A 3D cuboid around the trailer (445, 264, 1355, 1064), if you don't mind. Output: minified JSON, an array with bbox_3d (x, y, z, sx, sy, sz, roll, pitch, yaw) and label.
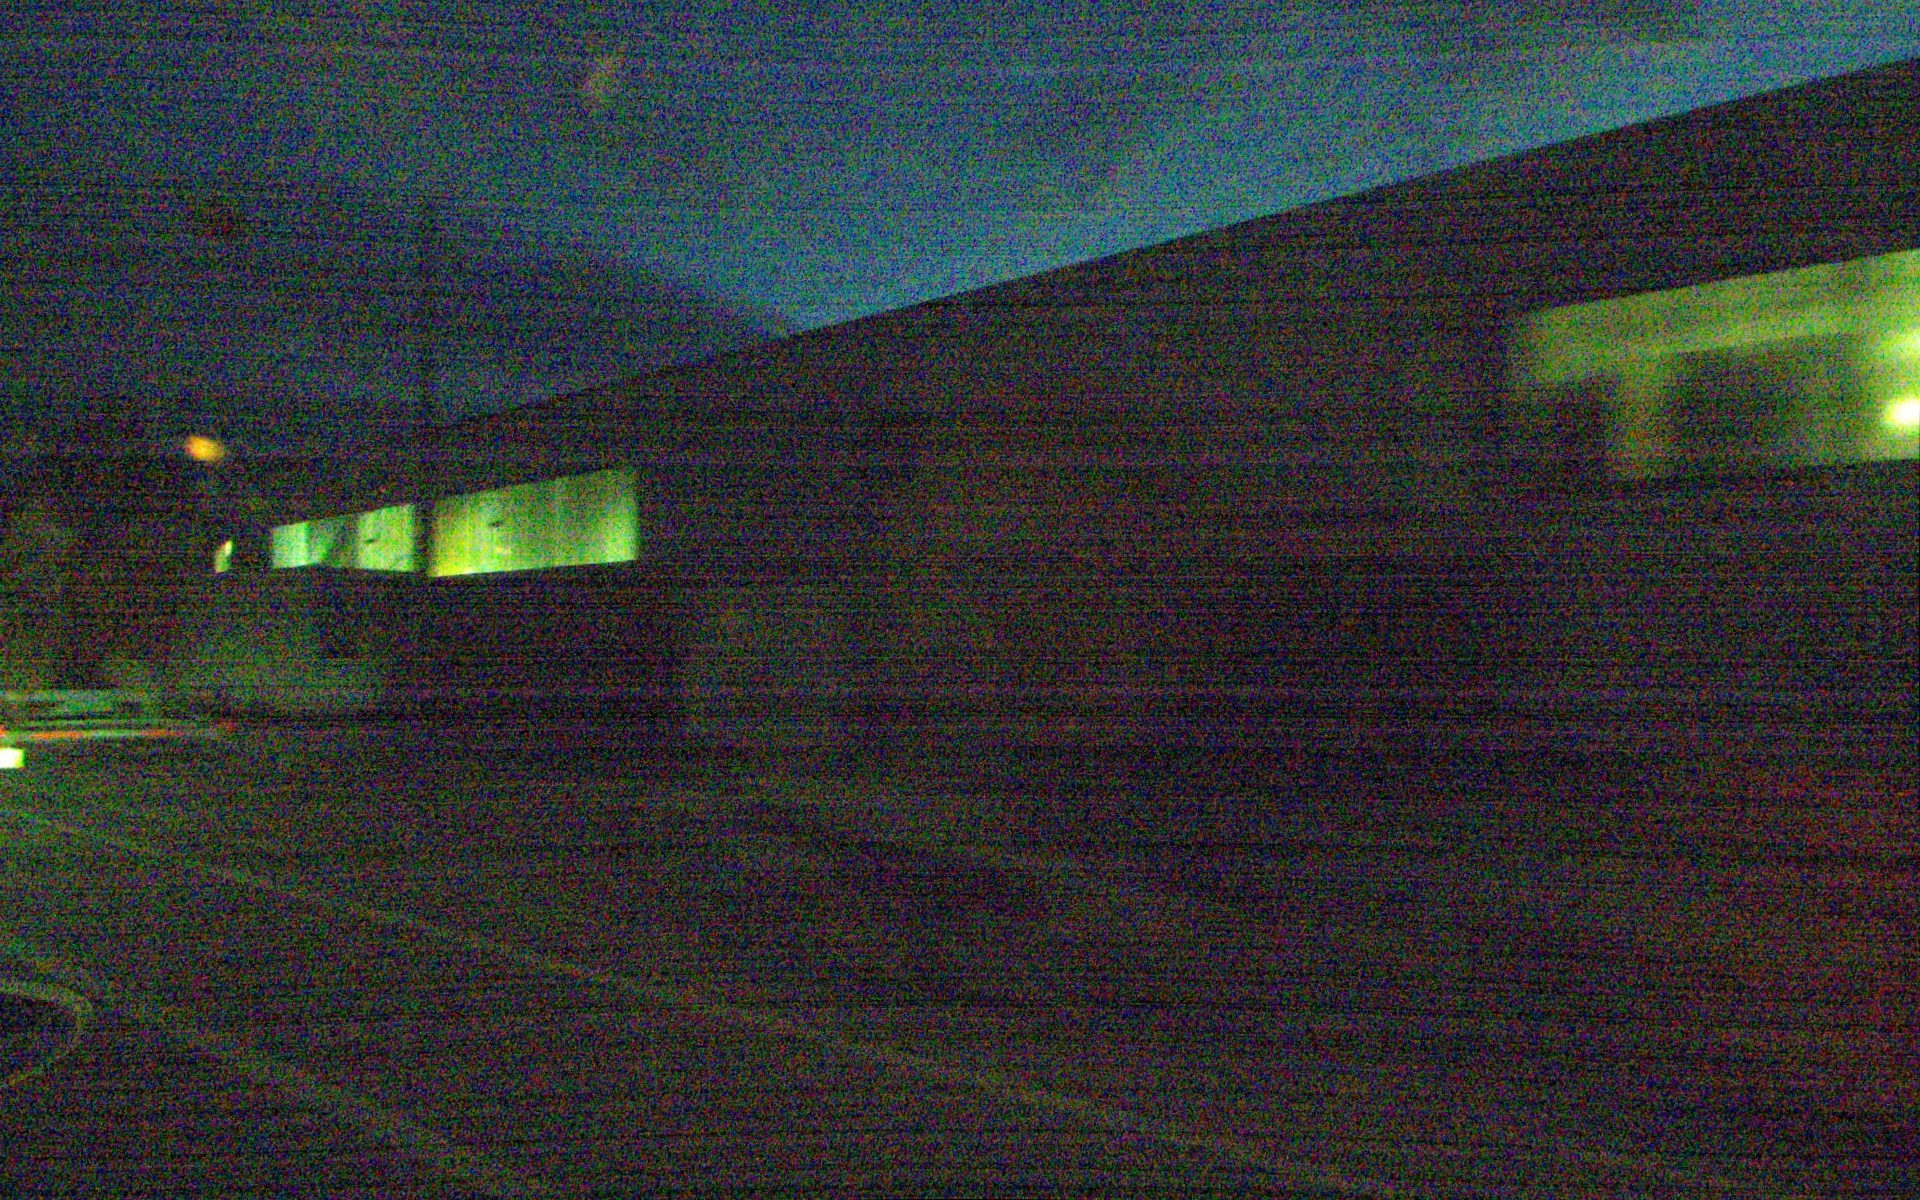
[{"bbox_3d":[-0.332,0.352,5.889,4.638,2.880,2.613,-2,-4,29],"label":"trailer"}]

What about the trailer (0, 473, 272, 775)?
[{"bbox_3d":[-12.032,0.381,12.812,4.791,3.258,3.481,-2,-4,29],"label":"trailer"}]
